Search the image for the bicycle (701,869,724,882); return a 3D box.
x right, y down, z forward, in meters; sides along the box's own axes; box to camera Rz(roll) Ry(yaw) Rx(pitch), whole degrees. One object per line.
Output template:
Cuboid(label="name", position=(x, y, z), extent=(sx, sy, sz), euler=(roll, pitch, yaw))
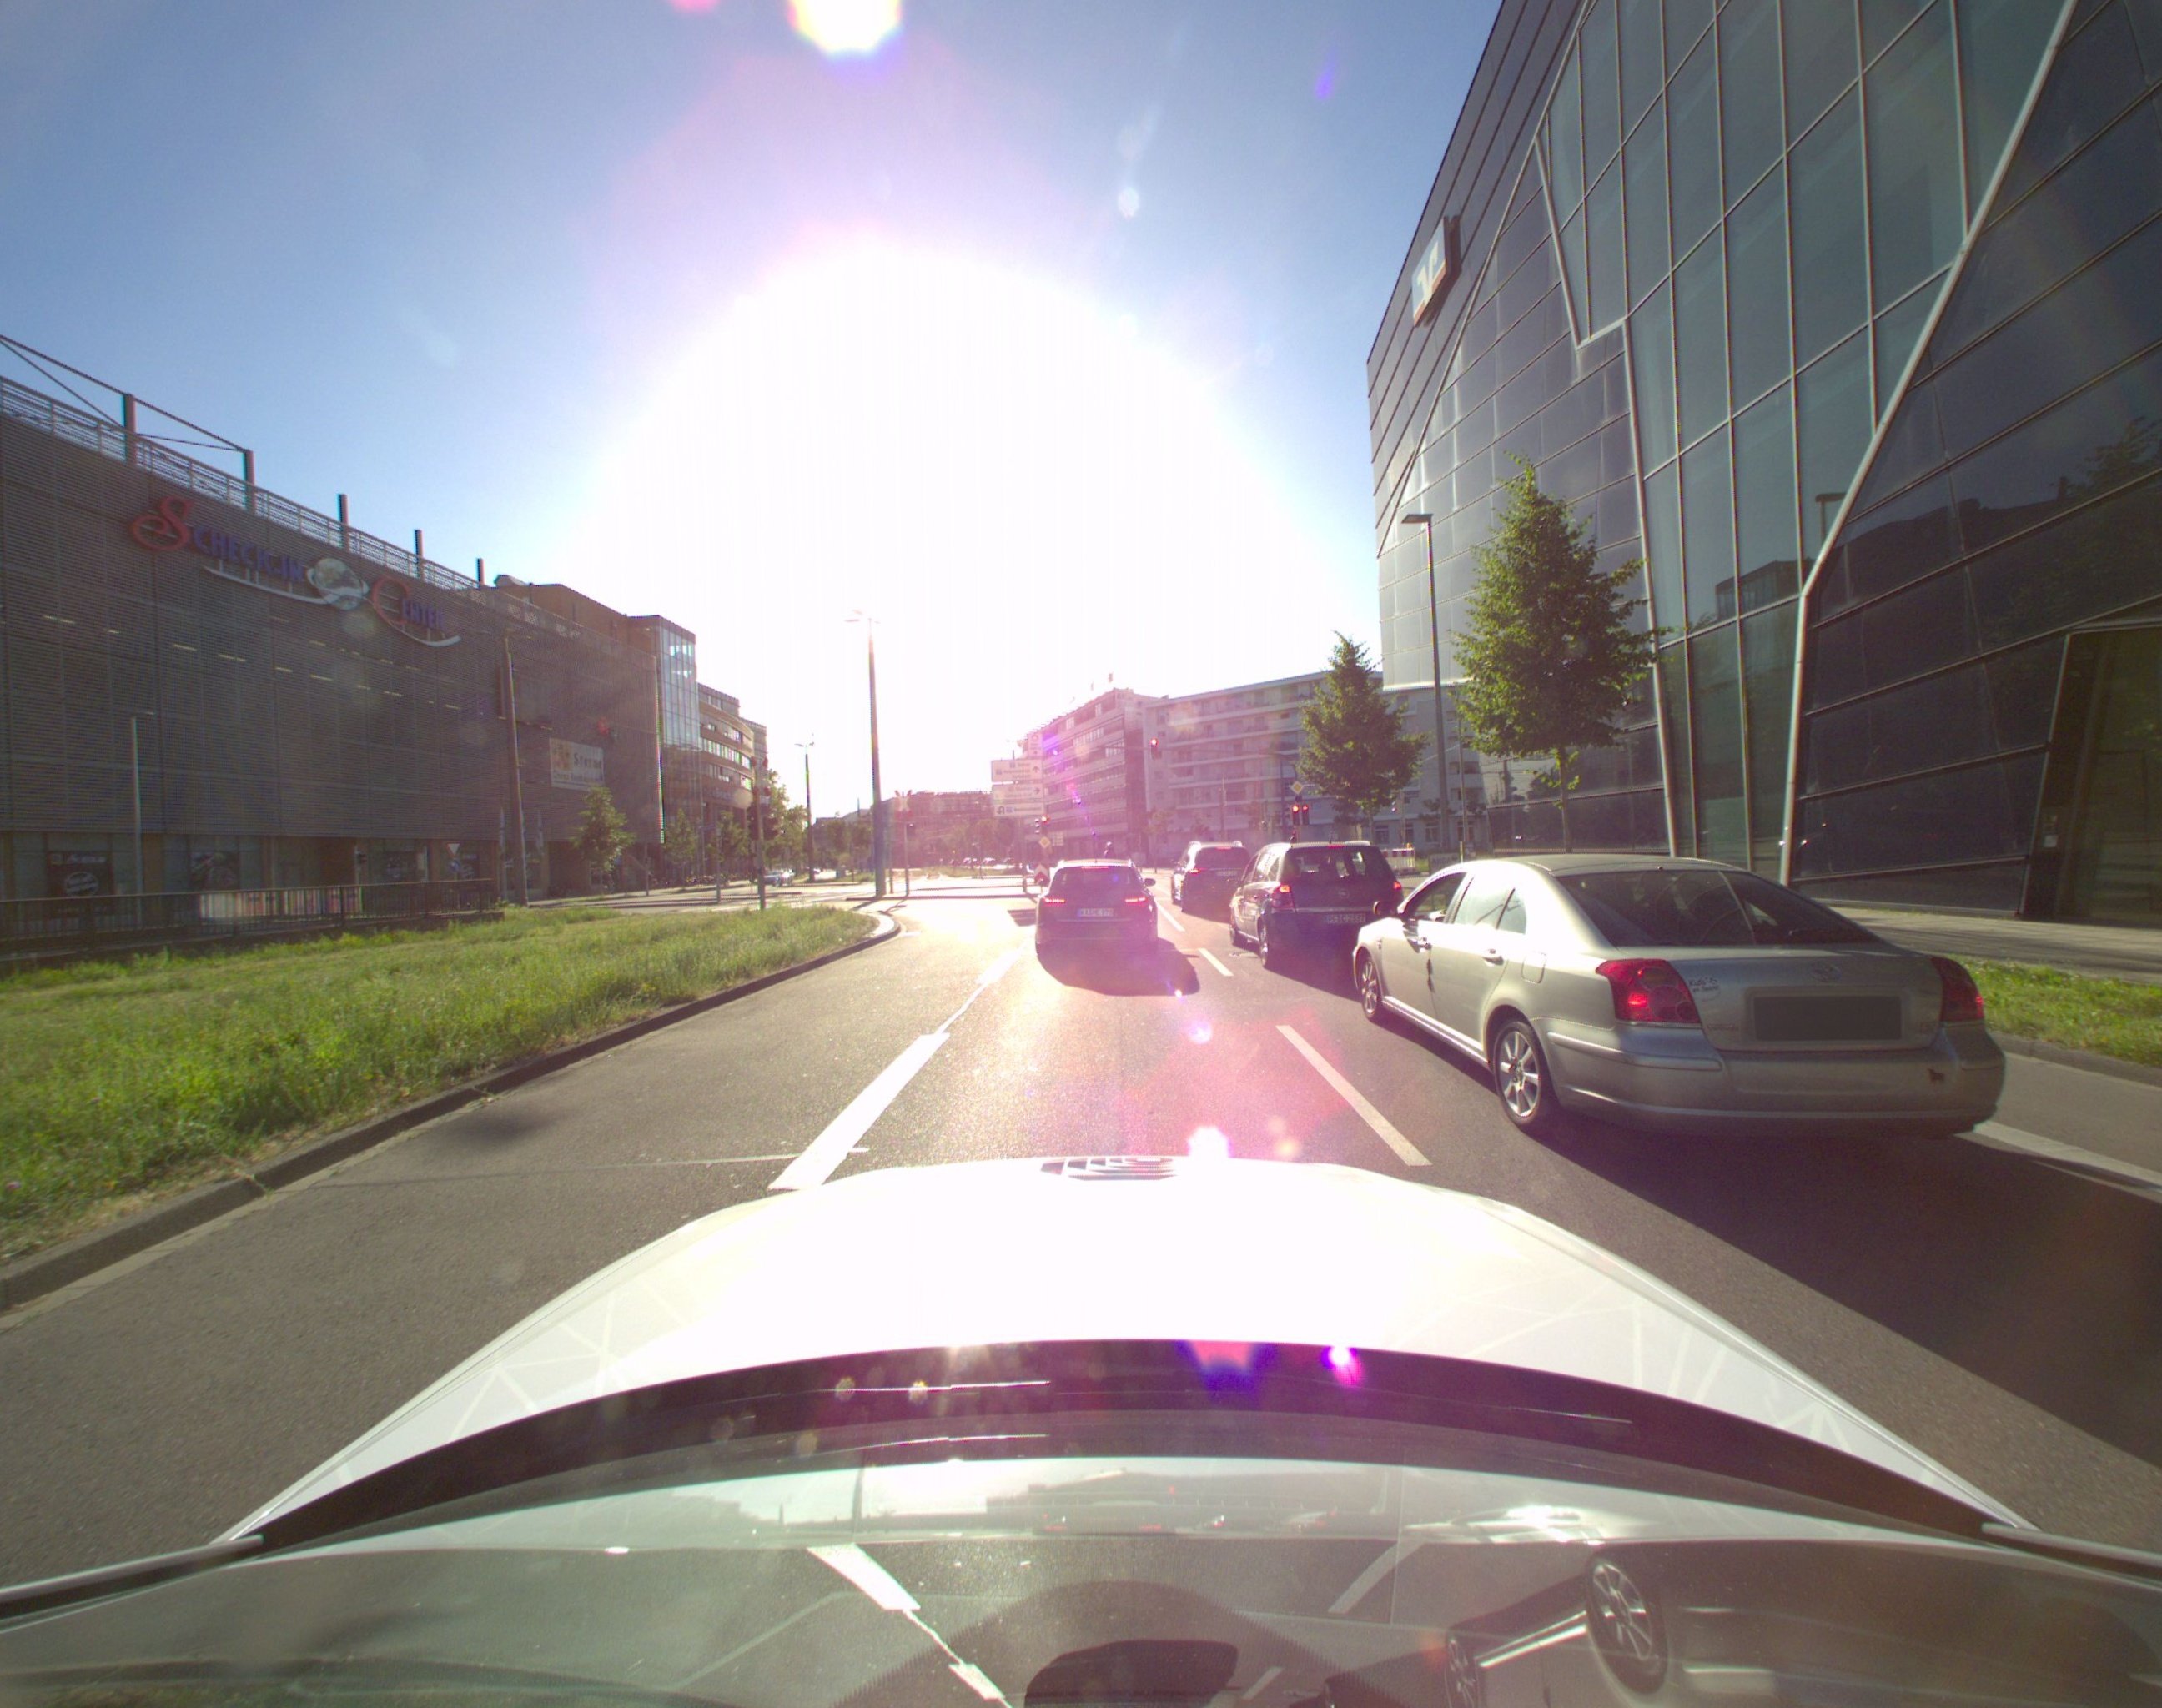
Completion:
Cuboid(label="bicycle", position=(-46.421, 2.717, 102.581), extent=(2.591, 1.433, 0.773), euler=(-3, -1, 10))

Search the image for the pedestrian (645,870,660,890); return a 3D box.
Cuboid(label="pedestrian", position=(-41.486, 2.533, 78.804), extent=(0.823, 1.824, 0.905), euler=(-3, -1, 3))

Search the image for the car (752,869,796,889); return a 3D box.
Cuboid(label="car", position=(-27.239, 2.166, 72.454), extent=(1.985, 1.545, 4.534), euler=(-2, 0, 3))

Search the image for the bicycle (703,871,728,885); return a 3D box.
Cuboid(label="bicycle", position=(-43.069, 2.832, 96.049), extent=(2.546, 1.433, 0.907), euler=(-3, -1, 10))

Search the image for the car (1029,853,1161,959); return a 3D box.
Cuboid(label="car", position=(0.259, 0.722, 13.432), extent=(1.835, 1.454, 4.002), euler=(-1, 0, 1))

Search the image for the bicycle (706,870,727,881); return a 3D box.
Cuboid(label="bicycle", position=(-46.533, 2.787, 104.013), extent=(2.399, 1.236, 0.747), euler=(-3, -1, 10))

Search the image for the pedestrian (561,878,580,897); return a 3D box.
Cuboid(label="pedestrian", position=(-43.641, 2.841, 69.621), extent=(0.984, 1.566, 0.829), euler=(-3, -1, 1))

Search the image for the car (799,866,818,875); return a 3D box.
Cuboid(label="car", position=(-53.886, 3.263, 161.282), extent=(3.317, 1.588, 1.665), euler=(-2, 0, 26))

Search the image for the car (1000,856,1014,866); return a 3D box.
Cuboid(label="car", position=(-14.672, 1.314, 161.367), extent=(1.996, 1.838, 3.981), euler=(-3, -1, -13))

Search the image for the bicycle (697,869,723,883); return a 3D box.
Cuboid(label="bicycle", position=(-42.752, 2.548, 93.793), extent=(2.546, 1.433, 0.907), euler=(-3, -1, 10))

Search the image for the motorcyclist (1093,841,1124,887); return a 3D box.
Cuboid(label="motorcyclist", position=(0.813, 0.284, 24.299), extent=(0.859, 1.326, 0.681), euler=(-2, -1, 1))

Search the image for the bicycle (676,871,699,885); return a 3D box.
Cuboid(label="bicycle", position=(-42.980, 2.596, 88.914), extent=(2.070, 1.433, 0.863), euler=(-3, -1, 10))

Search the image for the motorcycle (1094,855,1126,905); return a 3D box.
Cuboid(label="motorcycle", position=(0.878, 0.754, 24.310), extent=(0.859, 1.393, 1.894), euler=(-2, 0, 2))

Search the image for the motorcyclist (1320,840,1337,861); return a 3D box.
Cuboid(label="motorcyclist", position=(17.707, -0.238, 58.284), extent=(0.916, 1.481, 1.179), euler=(-3, 0, 29))

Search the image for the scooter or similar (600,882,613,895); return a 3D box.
Cuboid(label="scooter or similar", position=(-42.311, 3.089, 72.639), extent=(0.419, 1.110, 1.153), euler=(-3, -1, 3))

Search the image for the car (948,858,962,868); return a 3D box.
Cuboid(label="car", position=(-24.286, 1.737, 157.045), extent=(1.998, 1.706, 3.977), euler=(-3, -1, -16))

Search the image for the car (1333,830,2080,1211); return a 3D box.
Cuboid(label="car", position=(3.214, 0.683, 5.589), extent=(1.738, 1.481, 4.632), euler=(-2, 0, 3))

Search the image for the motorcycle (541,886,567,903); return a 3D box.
Cuboid(label="motorcycle", position=(-41.180, 3.178, 63.655), extent=(0.673, 1.238, 1.894), euler=(-3, -1, 1))

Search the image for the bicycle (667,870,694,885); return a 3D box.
Cuboid(label="bicycle", position=(-43.186, 2.564, 87.832), extent=(2.355, 1.433, 1.079), euler=(-3, -1, 10))

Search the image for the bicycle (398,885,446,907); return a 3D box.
Cuboid(label="bicycle", position=(-41.294, 2.627, 51.073), extent=(0.796, 1.220, 2.418), euler=(-2, 0, 5))

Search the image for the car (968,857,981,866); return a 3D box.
Cuboid(label="car", position=(-19.882, 1.453, 151.601), extent=(1.996, 1.596, 3.981), euler=(-3, -1, -13))

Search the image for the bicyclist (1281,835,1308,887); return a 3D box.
Cuboid(label="bicyclist", position=(6.982, 0.222, 26.632), extent=(0.651, 1.642, 0.973), euler=(-2, 0, 5))

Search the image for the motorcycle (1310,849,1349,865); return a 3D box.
Cuboid(label="motorcycle", position=(17.773, 0.211, 58.284), extent=(2.429, 1.000, 1.179), euler=(-2, 0, 29))

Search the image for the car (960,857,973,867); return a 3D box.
Cuboid(label="car", position=(-22.234, 1.583, 157.904), extent=(1.998, 1.706, 3.977), euler=(-3, -1, -16))

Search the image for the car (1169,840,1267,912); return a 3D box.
Cuboid(label="car", position=(3.521, 0.518, 21.748), extent=(1.995, 1.715, 4.374), euler=(-1, 0, 2))

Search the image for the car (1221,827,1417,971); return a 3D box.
Cuboid(label="car", position=(3.218, 0.546, 11.878), extent=(1.739, 1.696, 4.263), euler=(-1, 0, 2))

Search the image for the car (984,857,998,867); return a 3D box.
Cuboid(label="car", position=(-16.558, 1.432, 149.189), extent=(1.997, 1.596, 3.980), euler=(-3, -1, -14))
